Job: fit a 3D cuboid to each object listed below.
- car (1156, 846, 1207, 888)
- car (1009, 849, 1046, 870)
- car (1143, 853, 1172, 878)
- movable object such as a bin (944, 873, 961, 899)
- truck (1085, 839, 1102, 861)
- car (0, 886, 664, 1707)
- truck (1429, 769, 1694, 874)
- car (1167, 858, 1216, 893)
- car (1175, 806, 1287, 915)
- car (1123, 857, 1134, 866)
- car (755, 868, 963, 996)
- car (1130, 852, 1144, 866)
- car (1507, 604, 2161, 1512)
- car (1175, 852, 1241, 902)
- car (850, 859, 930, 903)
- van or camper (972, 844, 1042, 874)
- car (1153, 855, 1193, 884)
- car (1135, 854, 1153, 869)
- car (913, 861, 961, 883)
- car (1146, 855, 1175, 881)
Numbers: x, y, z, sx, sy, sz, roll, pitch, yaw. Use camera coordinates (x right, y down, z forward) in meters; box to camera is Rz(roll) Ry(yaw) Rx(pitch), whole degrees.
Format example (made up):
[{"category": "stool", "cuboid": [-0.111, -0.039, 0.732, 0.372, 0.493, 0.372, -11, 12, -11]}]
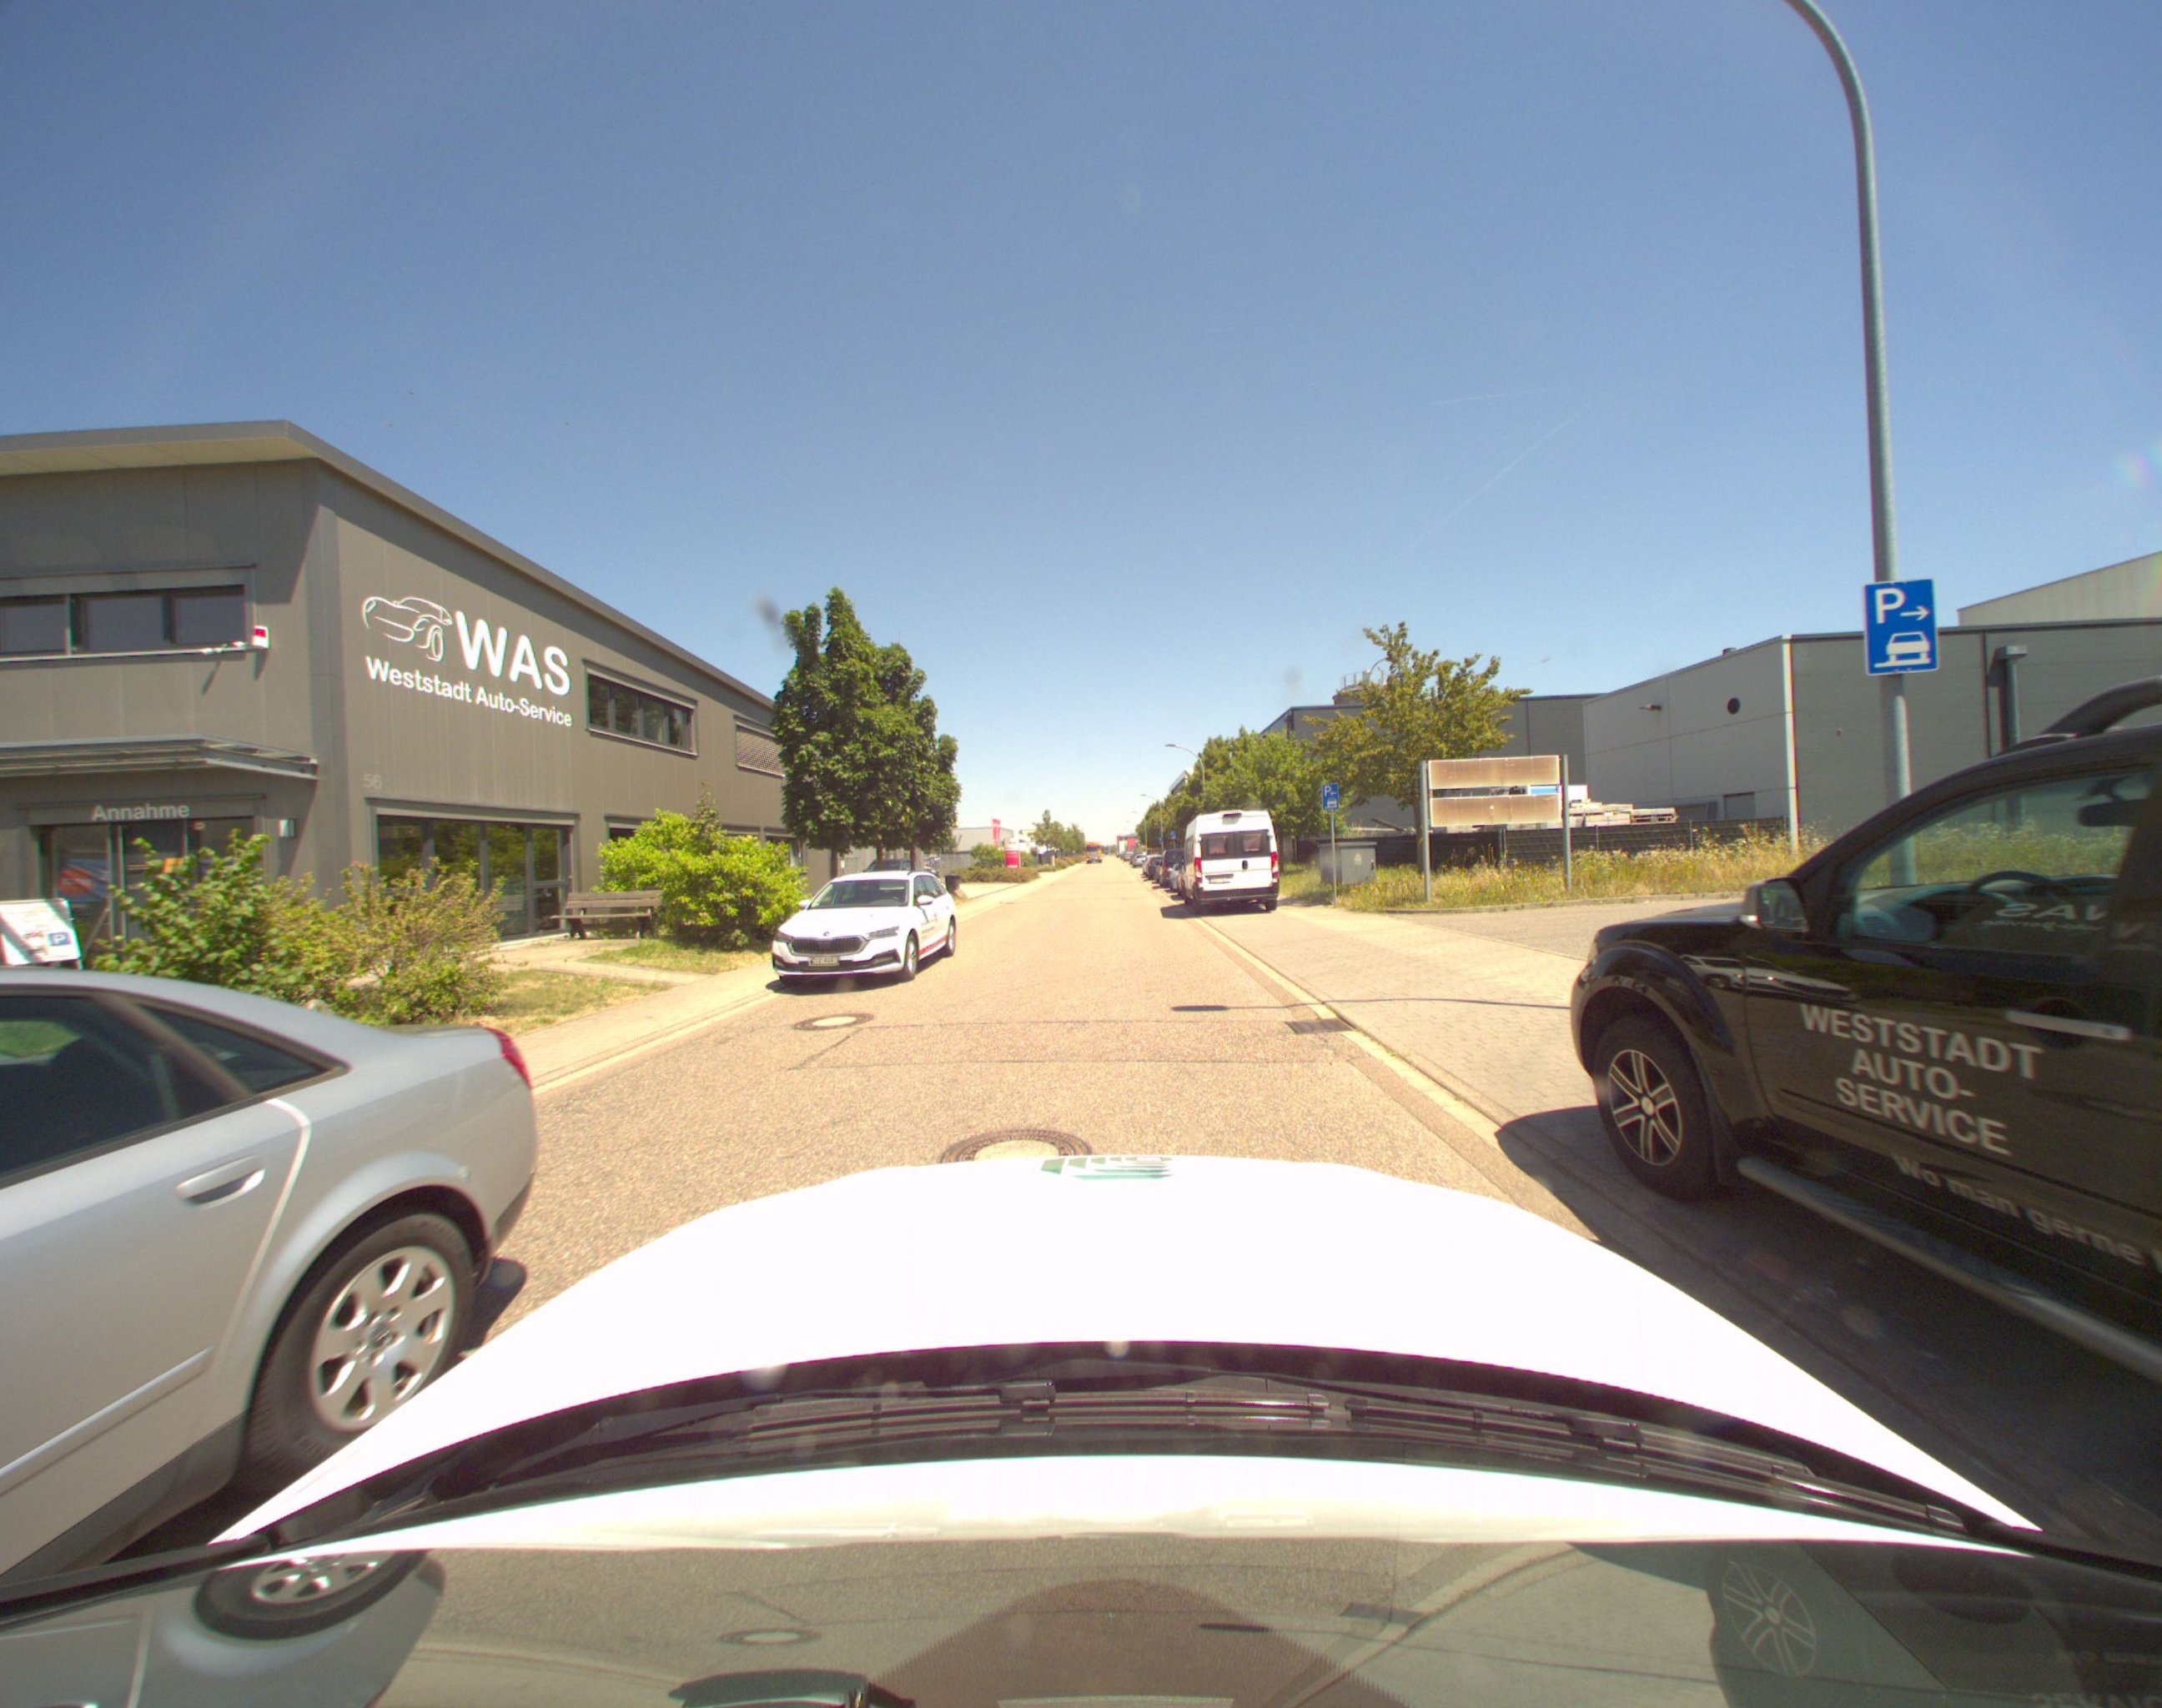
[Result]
[{"category": "car", "cuboid": [4.787, 0.597, 39.478, 1.986, 1.825, 4.355, -3, -1, 2]}, {"category": "car", "cuboid": [-7.059, 0.703, 107.330, 4.703, 2.586, 1.998, -3, 0, -2]}, {"category": "car", "cuboid": [5.393, 0.767, 57.748, 1.741, 1.562, 4.509, -3, 0, 3]}, {"category": "movable object such as a bin", "cuboid": [-5.387, 1.359, 34.260, 0.577, 1.065, 0.766, 0, 0, 2]}, {"category": "truck", "cuboid": [2.199, -0.647, 136.749, 2.439, 3.513, 8.276, -4, 0, 2]}, {"category": "car", "cuboid": [-2.711, 0.898, 1.086, 1.776, 1.422, 4.416, -4, -1, 2]}, {"category": "truck", "cuboid": [20.399, -1.345, 34.794, 9.974, 3.822, 3.028, -3, 0, -9]}, {"category": "car", "cuboid": [4.604, 0.876, 34.428, 1.704, 1.287, 4.119, -3, -1, 4]}, {"category": "car", "cuboid": [3.924, 0.160, 22.509, 2.257, 2.497, 6.158, -3, 0, 4]}, {"category": "car", "cuboid": [7.931, 1.261, 135.793, 1.579, 1.409, 3.502, -3, 0, 2]}, {"category": "car", "cuboid": [-3.057, 0.997, 12.263, 1.723, 1.458, 4.493, -2, 0, 2]}, {"category": "car", "cuboid": [7.328, 0.687, 106.656, 1.715, 1.694, 3.987, -3, 0, 3]}, {"category": "car", "cuboid": [3.208, 0.380, 1.734, 1.986, 1.884, 5.159, -4, 0, 2]}, {"category": "car", "cuboid": [4.337, 0.742, 28.436, 1.820, 1.493, 4.483, -3, 0, 4]}, {"category": "car", "cuboid": [-8.478, 1.142, 36.679, 1.984, 1.735, 4.921, -1, 1, 6]}, {"category": "van or camper", "cuboid": [-8.190, 0.559, 91.022, 7.358, 3.037, 2.791, -3, 0, 1]}, {"category": "car", "cuboid": [5.147, 0.859, 45.970, 1.843, 1.431, 4.715, -3, -1, 2]}, {"category": "car", "cuboid": [6.821, 0.820, 88.739, 1.711, 1.450, 3.648, -3, 0, 2]}, {"category": "car", "cuboid": [-11.308, 1.424, 64.051, 3.493, 1.552, 1.556, -2, 0, -3]}, {"category": "car", "cuboid": [5.104, 0.874, 51.868, 1.700, 1.504, 4.715, -3, -1, 7]}]
